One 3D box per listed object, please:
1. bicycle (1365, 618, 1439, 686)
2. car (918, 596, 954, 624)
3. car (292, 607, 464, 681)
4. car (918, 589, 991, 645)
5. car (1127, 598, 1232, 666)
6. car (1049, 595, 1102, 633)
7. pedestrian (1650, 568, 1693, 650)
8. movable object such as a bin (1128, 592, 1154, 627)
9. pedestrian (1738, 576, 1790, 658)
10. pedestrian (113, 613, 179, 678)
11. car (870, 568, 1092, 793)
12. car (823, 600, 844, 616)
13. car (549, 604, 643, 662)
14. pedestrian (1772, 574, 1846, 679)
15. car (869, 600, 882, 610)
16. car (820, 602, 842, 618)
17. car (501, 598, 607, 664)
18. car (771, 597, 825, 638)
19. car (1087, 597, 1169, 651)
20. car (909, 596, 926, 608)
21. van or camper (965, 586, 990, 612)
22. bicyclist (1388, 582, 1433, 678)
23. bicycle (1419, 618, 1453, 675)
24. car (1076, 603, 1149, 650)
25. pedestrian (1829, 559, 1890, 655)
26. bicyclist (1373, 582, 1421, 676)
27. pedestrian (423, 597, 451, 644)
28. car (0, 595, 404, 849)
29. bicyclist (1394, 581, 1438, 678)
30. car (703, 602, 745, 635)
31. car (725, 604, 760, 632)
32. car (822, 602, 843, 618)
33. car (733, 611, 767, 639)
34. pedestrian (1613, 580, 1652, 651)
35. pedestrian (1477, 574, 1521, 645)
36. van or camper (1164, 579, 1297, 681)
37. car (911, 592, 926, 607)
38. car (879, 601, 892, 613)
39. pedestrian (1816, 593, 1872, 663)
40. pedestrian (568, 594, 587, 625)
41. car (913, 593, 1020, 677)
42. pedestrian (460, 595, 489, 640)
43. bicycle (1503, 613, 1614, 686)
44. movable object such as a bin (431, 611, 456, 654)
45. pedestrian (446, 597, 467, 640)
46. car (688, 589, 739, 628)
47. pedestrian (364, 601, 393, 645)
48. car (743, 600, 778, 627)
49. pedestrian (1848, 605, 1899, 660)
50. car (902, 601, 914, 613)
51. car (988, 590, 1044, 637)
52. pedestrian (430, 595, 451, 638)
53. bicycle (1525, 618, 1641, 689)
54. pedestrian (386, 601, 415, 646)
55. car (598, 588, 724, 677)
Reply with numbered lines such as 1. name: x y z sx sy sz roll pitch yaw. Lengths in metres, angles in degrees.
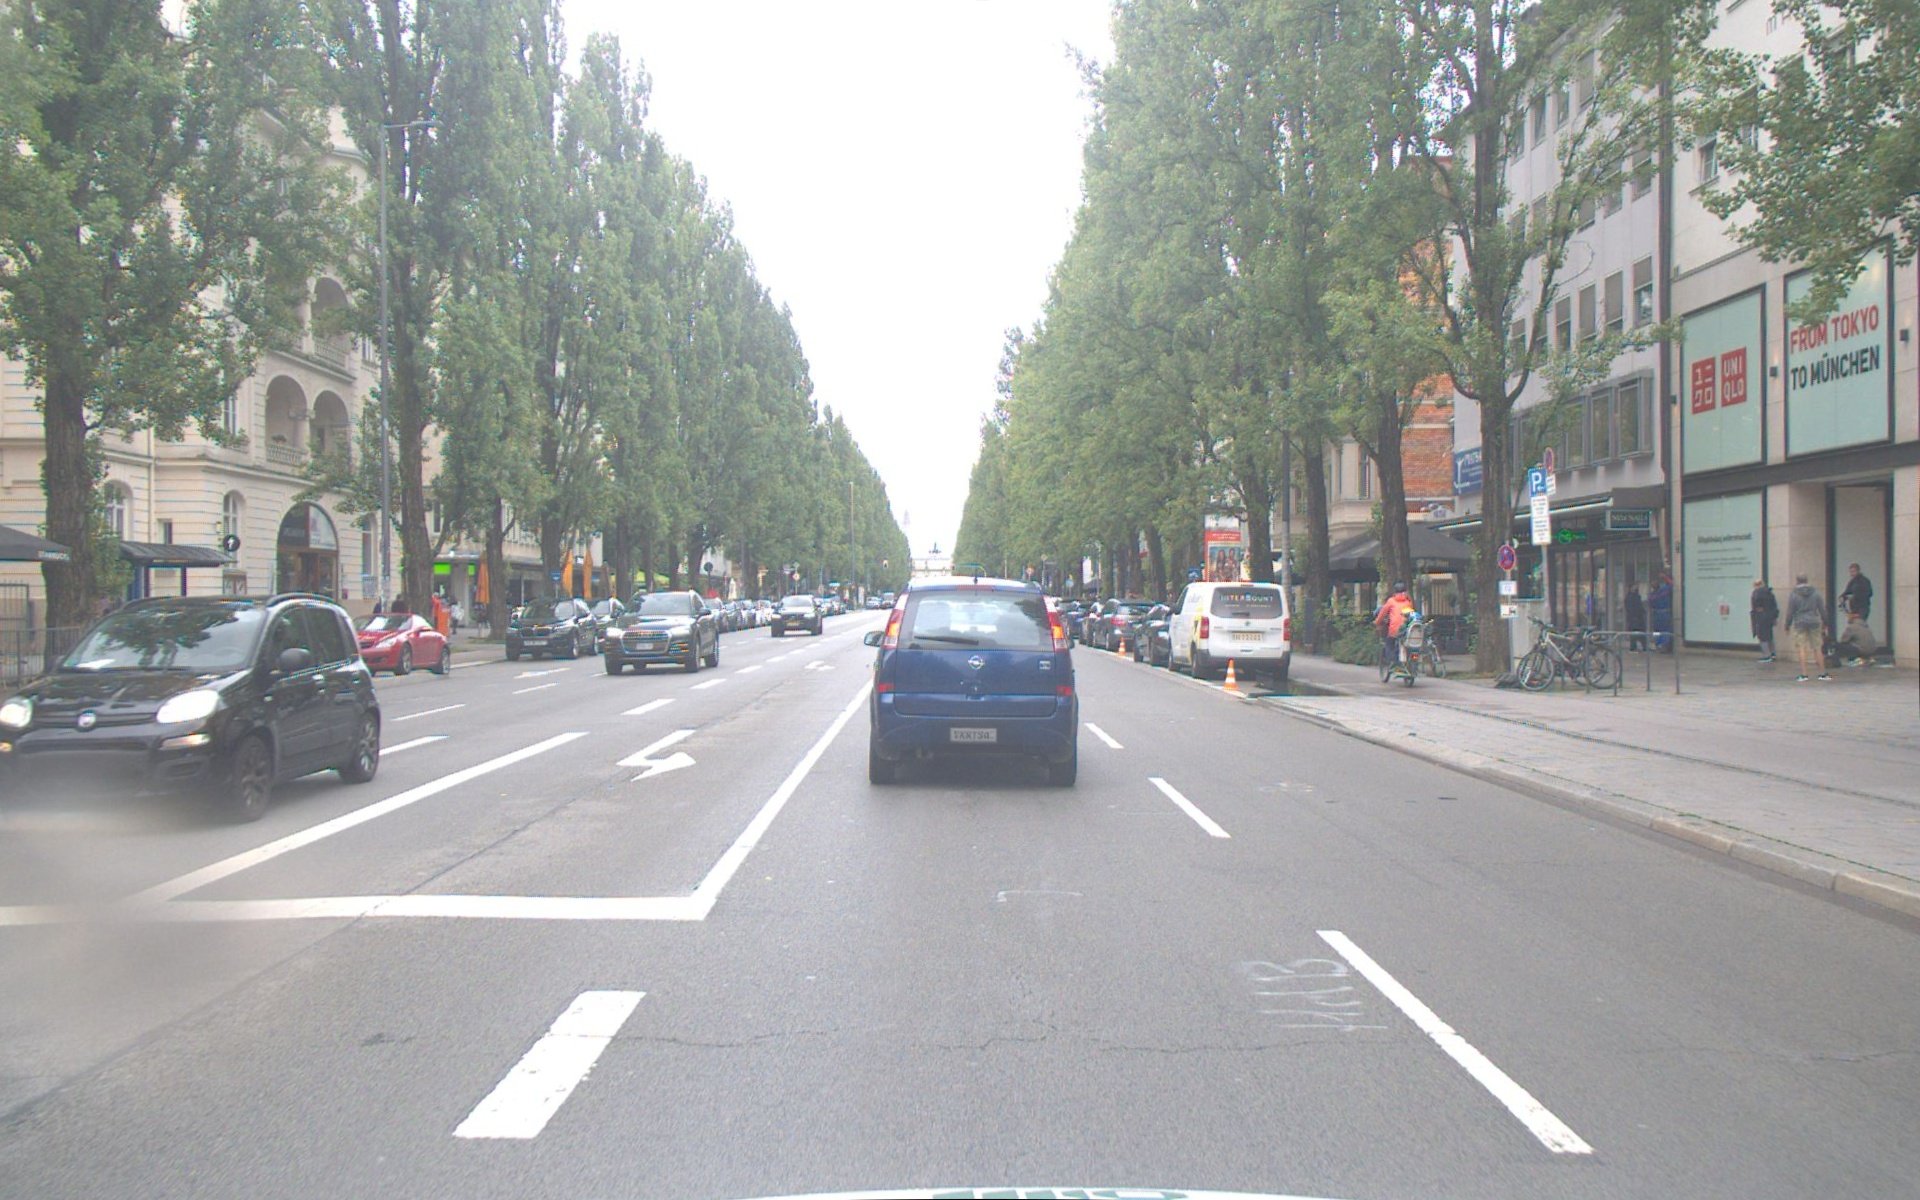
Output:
1. bicycle: 7.666 0.886 28.788 0.614 1.106 2.263 -1 0 -2
2. car: -1.388 0.563 93.810 1.953 1.524 3.999 0 0 -2
3. car: -11.445 0.826 32.824 1.840 1.321 4.095 -1 0 2
4. car: -0.201 0.458 47.364 1.953 1.524 3.999 -1 0 -2
5. car: 5.148 0.715 39.310 1.685 1.467 4.351 2 0 -3
6. car: 4.552 0.548 65.773 1.714 1.430 4.463 -1 0 -1
7. pedestrian: 16.403 0.210 38.124 0.852 1.861 0.835 0 0 27
8. movable object such as a bin: 9.182 0.492 84.033 1.012 1.733 1.585 -1 0 -5
9. pedestrian: 16.200 0.342 33.347 0.656 1.637 0.829 0 0 1
10. pedestrian: -16.414 0.918 33.373 0.941 1.278 0.757 0 0 2
11. car: 0.100 0.600 14.349 1.647 1.670 3.999 0 0 -2
12. car: -13.107 0.812 171.971 1.953 1.691 3.999 -1 0 -2
13. car: -11.118 0.978 50.812 1.766 1.622 4.631 -1 0 1
14. pedestrian: 14.026 0.426 27.329 0.979 1.703 0.812 0 0 -43
15. car: -12.862 0.752 252.739 1.922 1.576 3.778 -1 0 -2
16. car: -12.552 0.964 161.332 1.922 1.424 3.778 -1 0 -2
17. car: -11.203 0.810 45.950 1.783 1.646 4.716 -1 1 0
18. car: -6.665 0.694 68.396 1.896 1.652 4.335 0 0 -1
19. car: 5.045 0.691 50.196 1.781 1.532 4.229 -1 0 -4
20. car: -4.925 0.221 192.828 1.922 1.424 3.778 -1 0 -2
21. van or camper: 1.787 -0.075 170.288 2.426 2.626 5.843 -1 0 -1
22. bicyclist: 7.672 0.502 28.188 0.609 1.616 0.481 -1 0 -2
23. bicycle: 9.226 0.885 32.105 0.357 1.056 1.732 0 0 7
24. car: 5.031 0.848 55.146 1.840 1.457 4.802 -1 0 -2
25. pedestrian: 17.123 0.123 31.501 0.668 1.795 0.867 0 0 -2
26. bicyclist: 7.648 0.506 28.944 0.609 1.616 0.753 -1 0 -2
27. pedestrian: -19.228 0.738 60.837 0.719 1.702 0.952 0 0 -1
28. car: -5.397 0.749 11.991 1.530 1.522 3.693 -1 0 -2
29. bicyclist: 7.681 0.500 27.856 0.609 1.616 0.391 -1 0 -2
30. car: -11.908 0.918 83.548 1.663 1.577 4.080 -1 0 -2
31. car: -11.821 0.952 90.165 1.598 1.453 2.982 -1 0 -2
32. car: -12.725 0.967 165.594 1.922 1.576 3.778 -1 0 -2
33. car: -12.218 1.452 96.242 1.540 1.561 2.923 -1 0 1
34. pedestrian: 15.758 0.362 38.768 0.656 1.637 0.772 1 -1 6
35. pedestrian: 14.429 0.251 44.309 0.809 1.873 1.099 0 0 -1
36. van or camper: 5.440 0.572 33.865 1.830 1.916 4.902 0 0 -1
37. car: -4.993 -0.090 198.547 1.798 1.792 3.778 -1 0 -2
38. car: -11.113 0.998 246.717 1.798 1.770 3.778 -1 0 -2
39. pedestrian: 16.192 0.509 30.302 0.656 1.255 0.684 -1 1 0
40. pedestrian: -22.353 0.548 96.767 0.834 1.775 1.148 0 0 -1
41. car: 0.065 0.628 32.378 1.953 1.524 3.999 -1 0 -2
42. pedestrian: -19.277 0.673 65.671 0.834 1.775 1.148 0 0 -1
43. bicycle: 9.723 0.795 26.874 1.707 1.130 0.447 -1 0 -11
44. movable object such as a bin: -16.028 1.004 51.365 0.592 1.339 0.586 0 0 -1
45. pedestrian: -20.941 0.753 68.777 0.612 1.752 0.826 -1 0 -2
46. car: -11.659 0.386 78.546 1.827 1.683 4.614 -3 0 -2
47. pedestrian: -20.599 0.806 58.602 0.753 1.564 0.804 0 0 -1
48. car: -12.062 0.822 100.295 1.798 1.573 4.084 -1 0 -3
49. pedestrian: 16.805 0.588 30.433 0.559 0.986 0.672 0 0 0
50. car: -7.733 1.012 245.004 1.798 1.706 3.778 -1 0 -2
51. car: 1.953 0.455 58.842 1.672 1.601 3.998 0 0 -3
52. pedestrian: -21.604 0.673 68.789 0.612 1.752 0.826 -1 0 -2
53. bicycle: 9.855 0.841 26.161 1.726 1.062 0.482 -1 0 -12
54. pedestrian: -19.725 0.815 58.371 0.753 1.564 0.804 0 0 -1
55. car: -6.163 0.625 34.584 1.874 1.710 4.585 0 0 -1
